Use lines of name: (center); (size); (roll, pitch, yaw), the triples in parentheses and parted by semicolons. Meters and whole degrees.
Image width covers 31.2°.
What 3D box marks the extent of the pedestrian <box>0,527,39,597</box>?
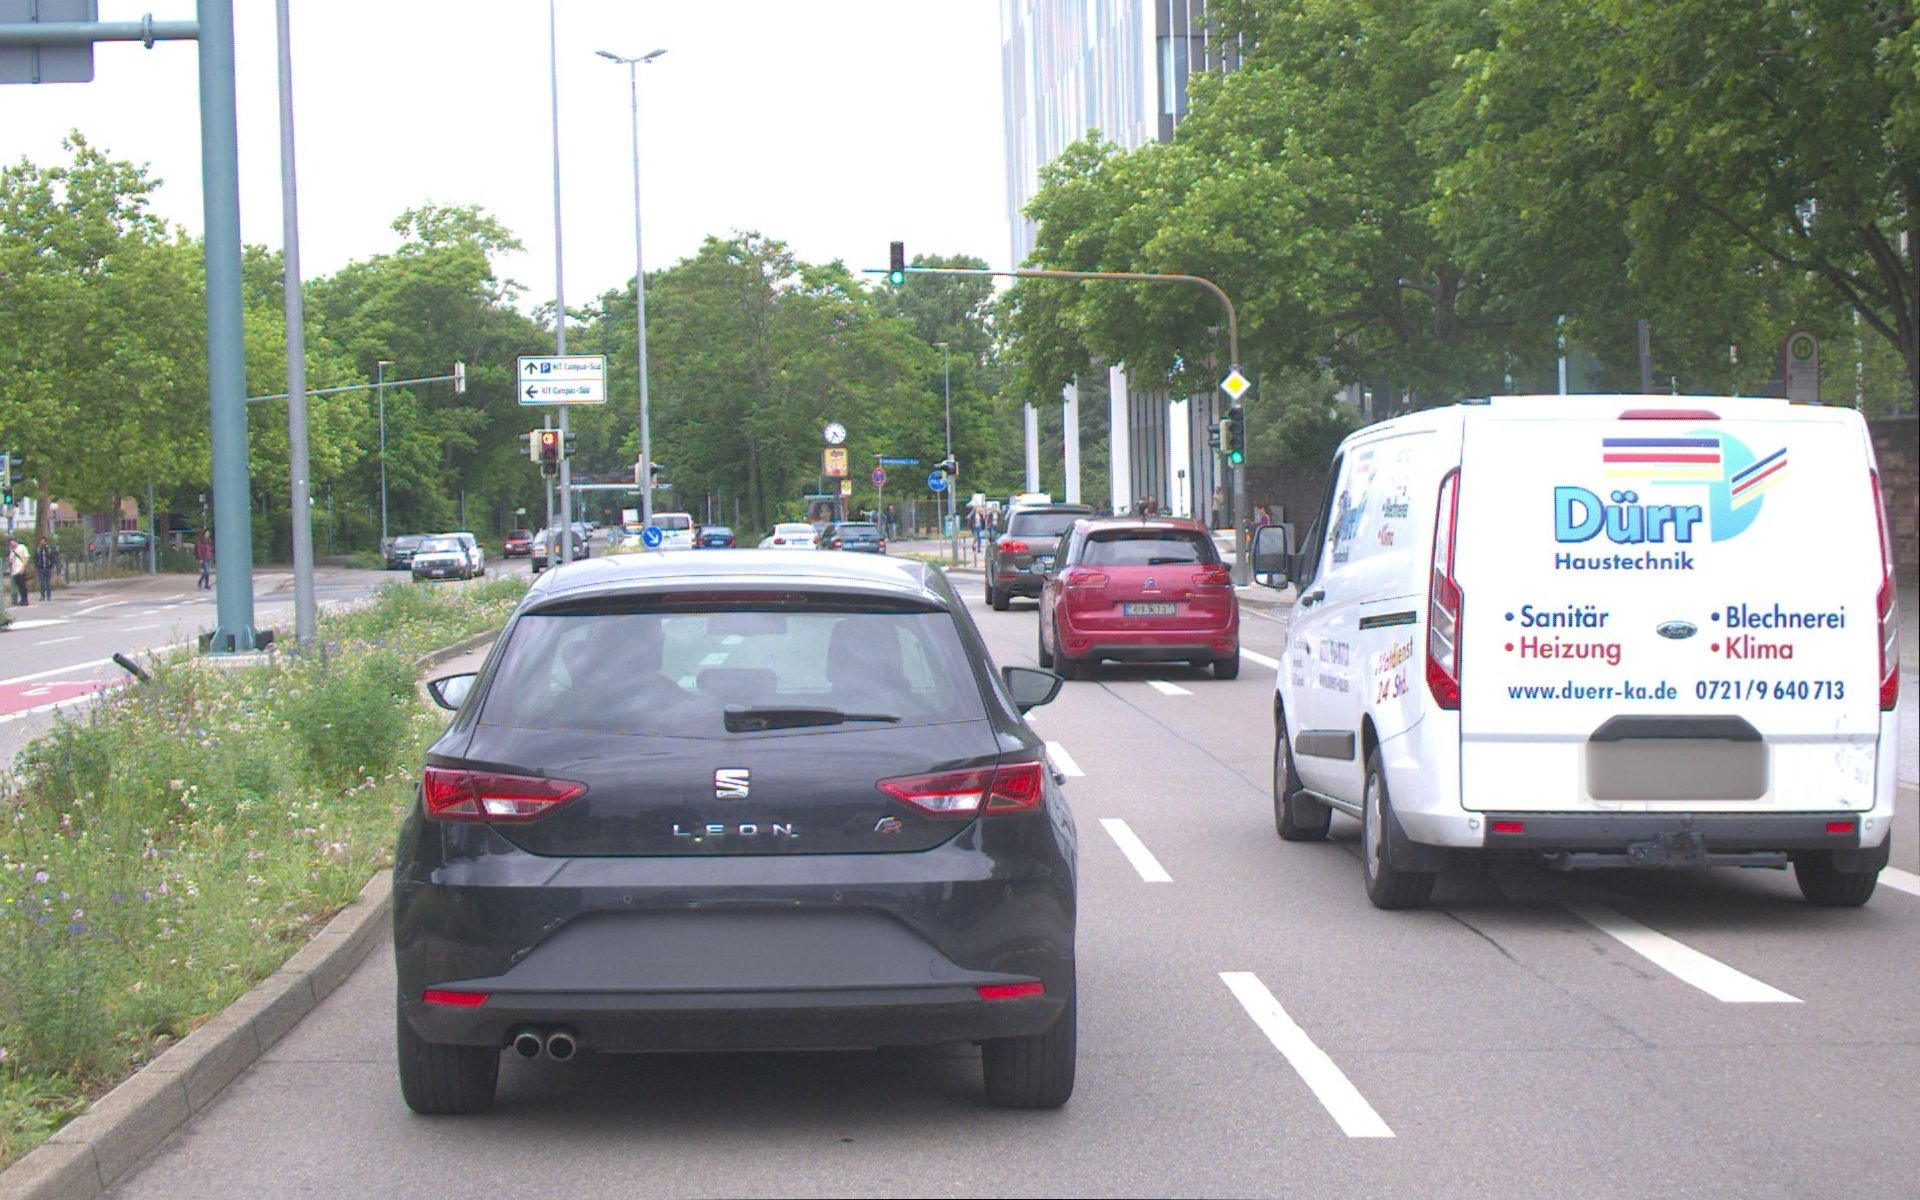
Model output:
pedestrian: (-24.324, -0.975, 88.507); (0.840, 1.734, 0.830); (-1, -3, -40)

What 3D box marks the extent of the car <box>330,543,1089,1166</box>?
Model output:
car: (-0.574, 0.560, 9.857); (1.753, 1.427, 3.769); (0, 1, 0)

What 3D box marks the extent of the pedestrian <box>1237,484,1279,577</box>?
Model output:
pedestrian: (5.681, -1.324, 65.581); (0.456, 1.733, 0.556); (-5, 2, -40)

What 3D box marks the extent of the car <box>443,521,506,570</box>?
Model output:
car: (-15.684, -1.770, 111.234); (1.704, 1.426, 4.228); (-3, 2, -5)

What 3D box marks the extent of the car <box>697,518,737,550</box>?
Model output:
car: (-9.927, -2.688, 140.411); (1.505, 1.189, 3.164); (-3, 2, -5)

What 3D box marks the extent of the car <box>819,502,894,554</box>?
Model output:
car: (-3.030, -2.110, 100.126); (1.898, 1.349, 3.883); (-3, 2, -5)

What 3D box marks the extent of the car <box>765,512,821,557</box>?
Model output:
car: (-5.551, -2.188, 113.889); (1.615, 1.349, 4.001); (-3, 2, -5)

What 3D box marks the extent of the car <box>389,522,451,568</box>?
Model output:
car: (-21.860, -2.242, 139.212); (1.906, 1.711, 4.001); (-3, 2, -2)

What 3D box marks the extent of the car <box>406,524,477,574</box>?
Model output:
car: (-15.751, -1.560, 104.622); (1.607, 1.376, 3.809); (-3, 2, -2)

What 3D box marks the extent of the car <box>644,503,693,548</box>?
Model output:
car: (-10.674, -2.732, 125.751); (1.695, 1.498, 4.011); (-3, 2, -5)

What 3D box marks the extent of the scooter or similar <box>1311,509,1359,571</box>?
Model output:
scooter or similar: (7.631, -1.228, 69.823); (0.433, 1.175, 1.702); (-3, 2, 23)

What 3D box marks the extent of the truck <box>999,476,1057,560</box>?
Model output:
truck: (1.893, -2.307, 96.083); (1.317, 2.235, 3.402); (-3, 2, -2)

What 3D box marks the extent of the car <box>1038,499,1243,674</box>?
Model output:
car: (1.799, -0.181, 34.541); (1.949, 1.618, 3.749); (0, 2, 3)

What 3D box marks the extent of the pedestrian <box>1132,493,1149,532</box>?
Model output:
pedestrian: (6.412, -3.112, 122.197); (0.472, 1.357, 0.445); (-3, 2, 9)

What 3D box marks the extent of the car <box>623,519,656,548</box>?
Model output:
car: (-14.335, -2.960, 153.824); (1.356, 1.189, 2.878); (-3, 2, -5)

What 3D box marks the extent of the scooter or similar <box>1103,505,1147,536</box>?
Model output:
scooter or similar: (6.326, -3.044, 131.742); (1.671, 1.103, 0.498); (-4, 2, -33)

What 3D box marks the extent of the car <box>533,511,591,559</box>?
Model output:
car: (-13.154, -2.137, 113.531); (1.763, 1.455, 4.793); (-4, 1, -7)

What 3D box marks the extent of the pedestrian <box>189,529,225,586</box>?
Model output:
pedestrian: (-21.677, -1.217, 98.992); (0.874, 1.580, 0.544); (-3, 2, -8)

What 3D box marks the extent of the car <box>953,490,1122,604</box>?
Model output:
car: (1.191, -0.875, 54.906); (1.914, 1.658, 4.116); (-3, 2, -9)

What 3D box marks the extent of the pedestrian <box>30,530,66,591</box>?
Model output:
pedestrian: (-24.099, -1.040, 90.839); (0.789, 1.553, 0.699); (-2, -2, -22)

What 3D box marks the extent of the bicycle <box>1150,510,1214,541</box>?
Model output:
bicycle: (7.069, -2.370, 109.643); (1.886, 0.895, 0.697); (-4, 2, -22)

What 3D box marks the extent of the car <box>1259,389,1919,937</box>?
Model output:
car: (2.486, 0.164, 14.509); (1.966, 1.965, 4.344); (0, 2, -1)
